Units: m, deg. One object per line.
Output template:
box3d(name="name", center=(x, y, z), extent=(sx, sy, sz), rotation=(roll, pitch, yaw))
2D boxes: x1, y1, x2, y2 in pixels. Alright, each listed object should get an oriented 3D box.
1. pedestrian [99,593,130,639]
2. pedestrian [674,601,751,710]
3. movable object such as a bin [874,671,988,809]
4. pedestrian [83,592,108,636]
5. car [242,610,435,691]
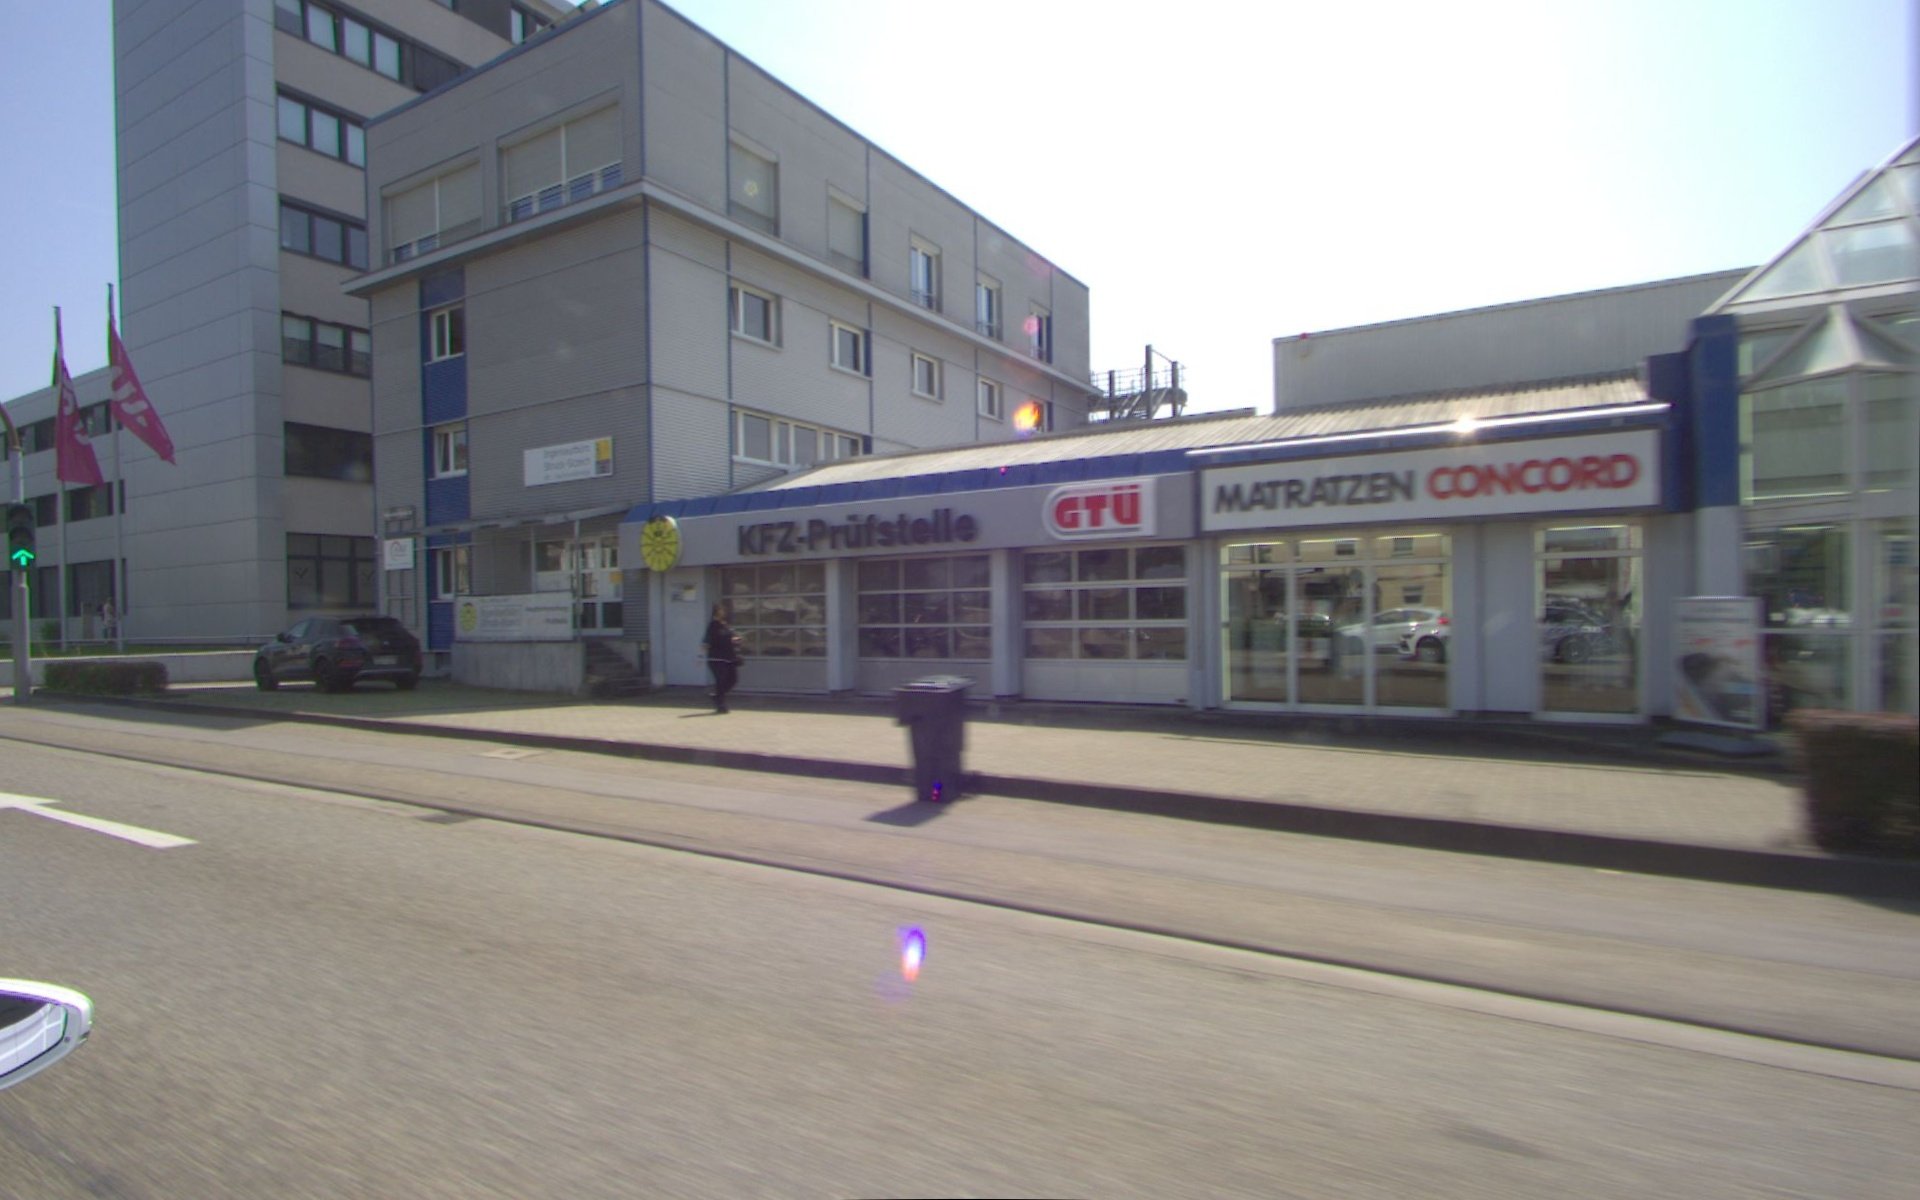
box3d(name="pedestrian", center=(-31.709, 0.595, 37.562), extent=(0.743, 1.685, 0.522), rotation=(-1, 1, 14))
box3d(name="pedestrian", center=(-3.880, 0.842, 15.738), extent=(0.841, 1.648, 0.807), rotation=(0, 1, 35))
box3d(name="movable object such as a bin", center=(-0.219, 1.051, 7.700), extent=(0.643, 0.932, 0.549), rotation=(0, 3, 33))
box3d(name="pedestrian", center=(-32.990, 0.521, 38.210), extent=(0.517, 1.656, 0.590), rotation=(0, 1, 40))
box3d(name="car", center=(-13.082, 1.022, 21.028), extent=(4.136, 1.551, 1.841), rotation=(-1, -2, 32))
